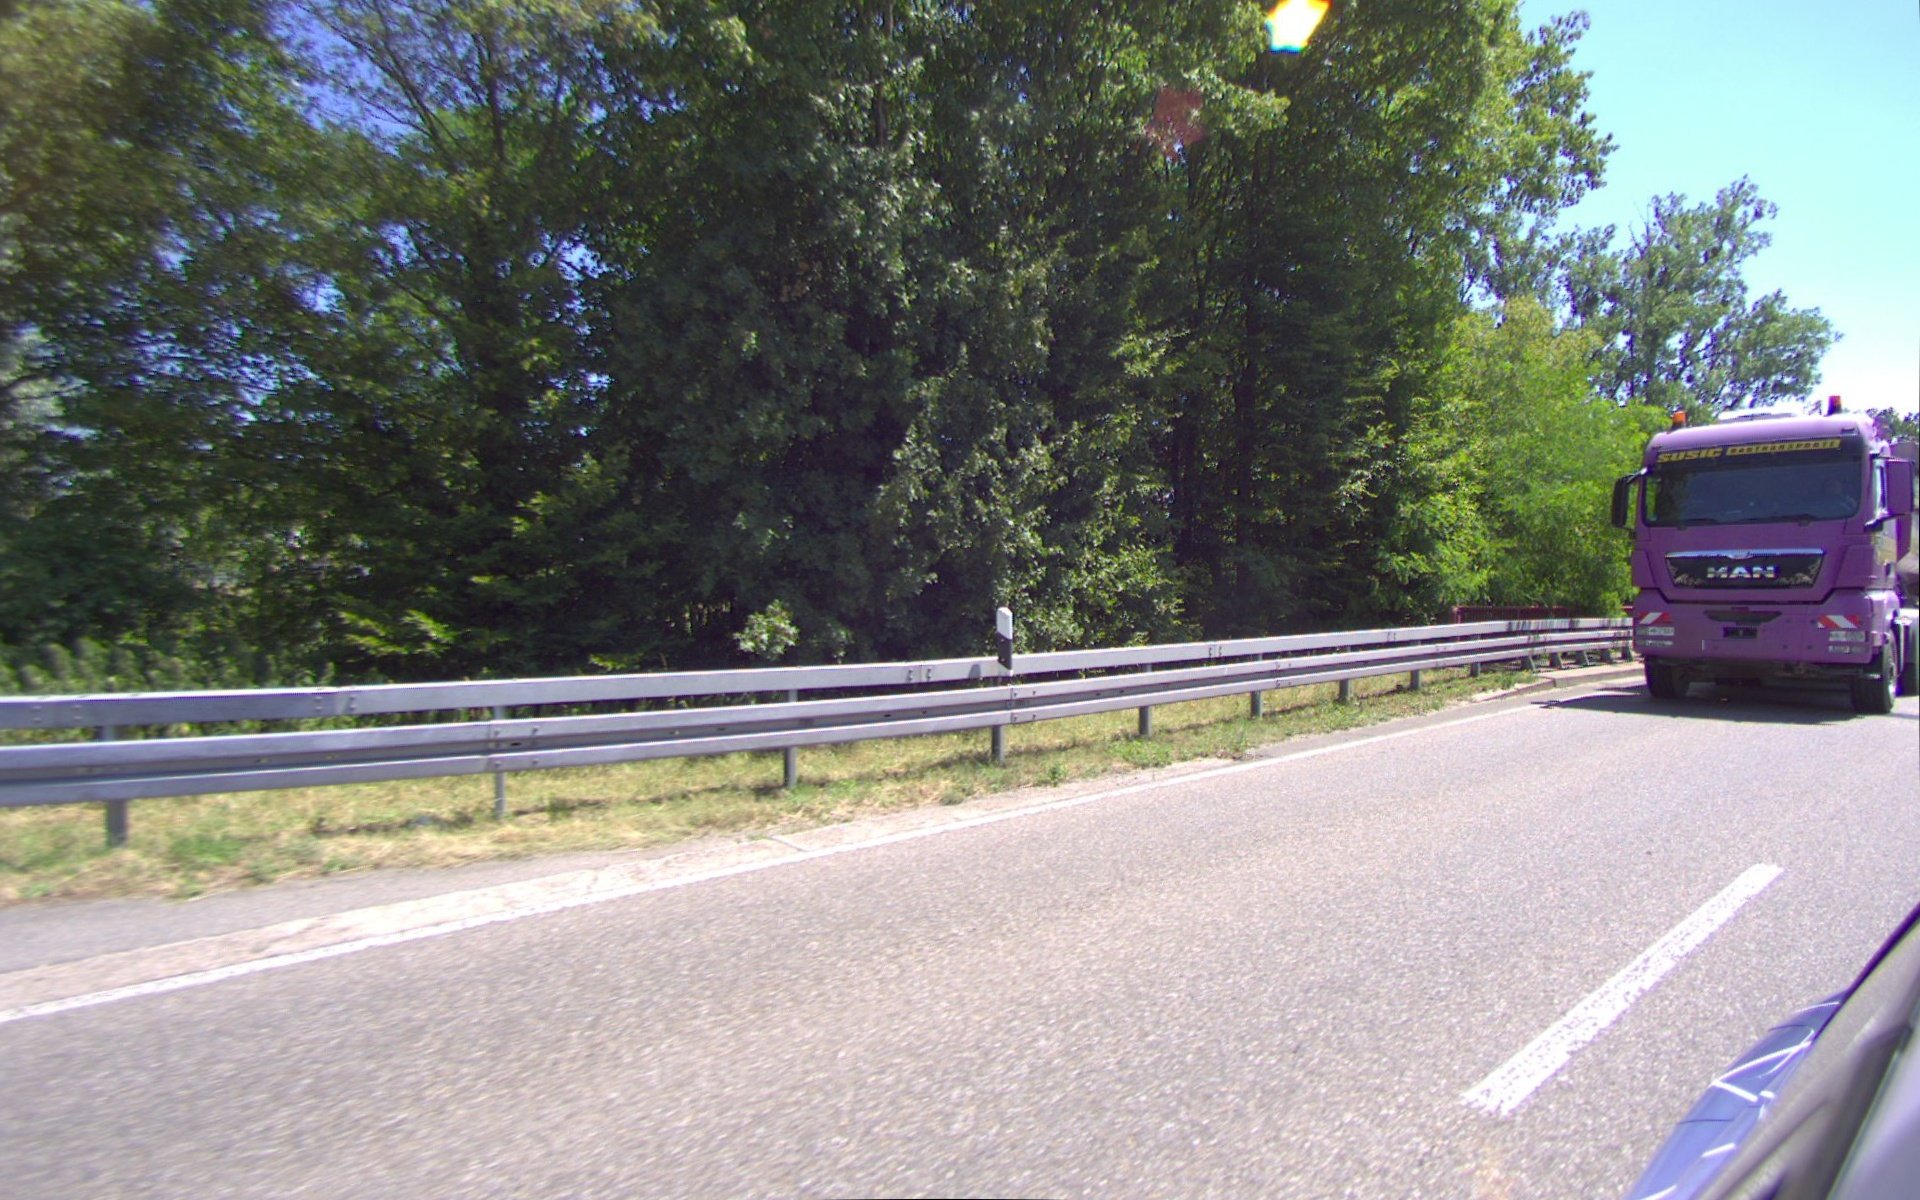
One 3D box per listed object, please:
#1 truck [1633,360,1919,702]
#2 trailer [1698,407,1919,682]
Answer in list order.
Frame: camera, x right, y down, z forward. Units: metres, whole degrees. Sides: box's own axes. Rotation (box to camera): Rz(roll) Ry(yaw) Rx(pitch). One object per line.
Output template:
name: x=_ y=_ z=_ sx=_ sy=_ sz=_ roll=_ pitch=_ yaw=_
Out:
truck: x=11.691 y=-0.756 z=13.987 sx=5.836 sy=3.738 sz=2.602 roll=0 pitch=0 yaw=-42
trailer: x=15.225 y=-0.746 z=17.223 sx=8.464 sy=3.675 sz=2.602 roll=0 pitch=0 yaw=-42
